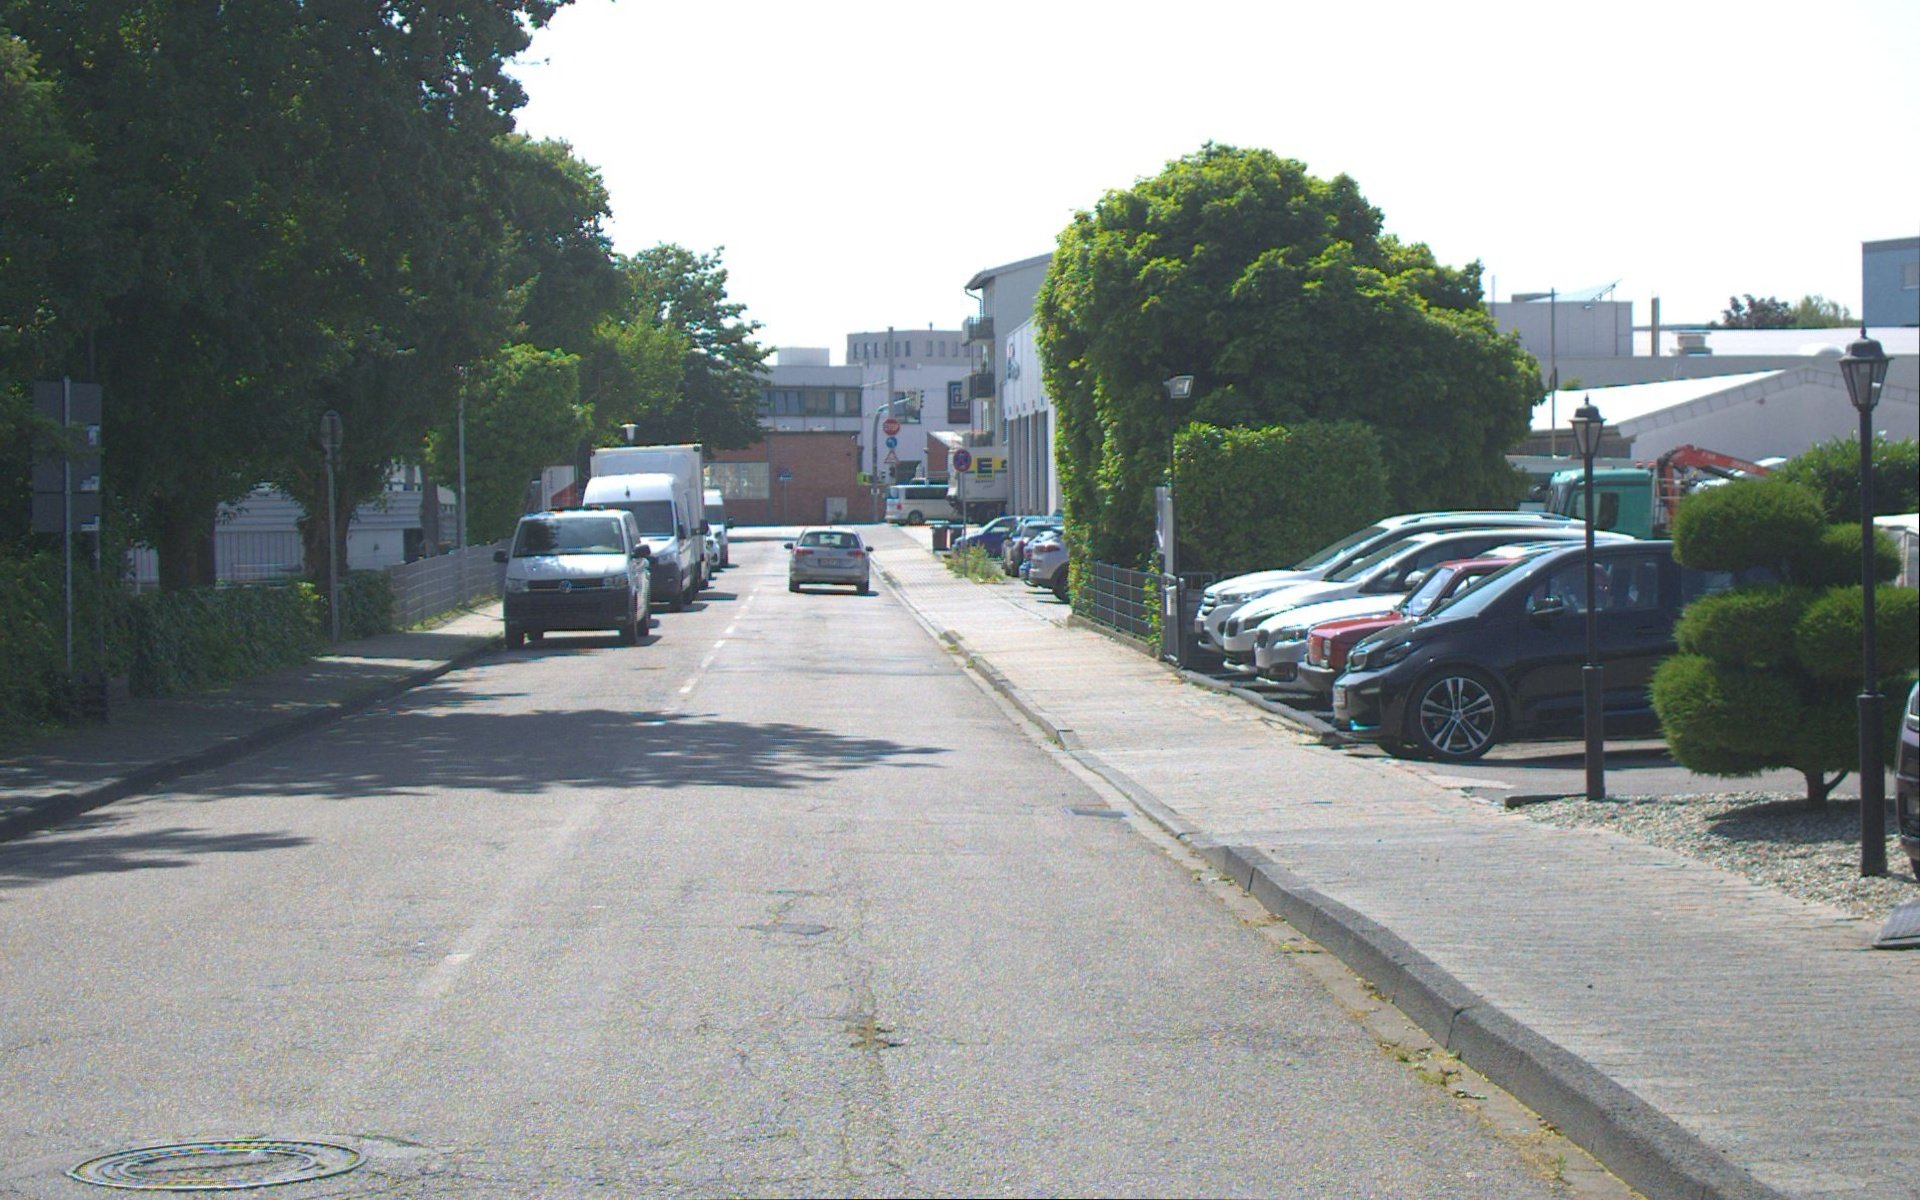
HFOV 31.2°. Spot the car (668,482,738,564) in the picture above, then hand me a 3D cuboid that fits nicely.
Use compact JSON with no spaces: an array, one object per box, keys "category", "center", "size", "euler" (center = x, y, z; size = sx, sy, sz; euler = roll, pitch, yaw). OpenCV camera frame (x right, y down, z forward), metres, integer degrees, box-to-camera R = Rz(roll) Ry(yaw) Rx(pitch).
[{"category":"car","center":[-7.921,-2.405,106.048],"size":[2.005,2.358,5.231],"euler":[-3,2,-4]}]

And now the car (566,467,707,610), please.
[{"category":"car","center":[-6.257,-1.208,67.193],"size":[2.168,2.587,6.921],"euler":[-2,1,-1]}]

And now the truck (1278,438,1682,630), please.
[{"category":"truck","center":[10.365,-1.334,68.980],"size":[7.517,3.411,2.527],"euler":[3,1,-2]}]

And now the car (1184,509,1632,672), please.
[{"category":"car","center":[4.690,-0.120,36.364],"size":[4.402,1.648,1.844],"euler":[0,1,-4]}]

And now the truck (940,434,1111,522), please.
[{"category":"truck","center":[3.020,-5.673,159.312],"size":[7.357,3.632,2.769],"euler":[-4,3,-8]}]

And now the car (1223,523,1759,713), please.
[{"category":"car","center":[4.777,0.139,31.252],"size":[4.402,1.492,1.897],"euler":[-2,1,-7]}]

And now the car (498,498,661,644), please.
[{"category":"car","center":[-5.599,-0.466,51.168],"size":[1.971,2.007,5.057],"euler":[-2,1,-2]}]

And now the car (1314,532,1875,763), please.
[{"category":"car","center":[4.692,0.322,25.749],"size":[3.802,1.618,1.760],"euler":[-1,1,-4]}]

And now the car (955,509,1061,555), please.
[{"category":"car","center":[1.503,-2.138,108.109],"size":[3.252,1.394,1.673],"euler":[-1,2,-2]}]

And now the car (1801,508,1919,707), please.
[{"category":"car","center":[9.217,0.025,31.201],"size":[1.993,1.722,4.001],"euler":[-1,1,-3]}]

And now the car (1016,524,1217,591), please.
[{"category":"car","center":[3.514,-0.976,77.612],"size":[4.352,1.436,1.892],"euler":[-1,2,-3]}]

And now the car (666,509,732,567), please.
[{"category":"car","center":[-7.679,-1.833,100.890],"size":[1.704,1.618,3.975],"euler":[-2,2,-7]}]

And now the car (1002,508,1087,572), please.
[{"category":"car","center":[2.200,-1.605,90.637],"size":[1.858,1.562,4.952],"euler":[-1,2,-3]}]

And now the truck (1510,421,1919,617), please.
[{"category":"truck","center":[14.757,-1.535,64.841],"size":[8.275,3.598,2.953],"euler":[0,1,1]}]

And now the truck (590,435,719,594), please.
[{"category":"truck","center":[-6.843,-1.902,77.063],"size":[2.685,3.354,7.131],"euler":[-1,1,-5]}]

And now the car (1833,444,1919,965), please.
[{"category":"car","center":[4.925,0.316,13.193],"size":[1.850,1.776,4.283],"euler":[0,1,31]}]

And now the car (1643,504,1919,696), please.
[{"category":"car","center":[8.494,-0.018,35.347],"size":[1.993,1.853,3.789],"euler":[1,1,-3]}]

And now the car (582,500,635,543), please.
[{"category":"car","center":[-13.093,-2.947,128.157],"size":[1.814,1.525,3.676],"euler":[-1,2,-4]}]

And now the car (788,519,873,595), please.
[{"category":"car","center":[-2.962,-0.993,78.270],"size":[1.890,1.679,3.958],"euler":[0,1,-3]}]

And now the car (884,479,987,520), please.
[{"category":"car","center":[-1.202,-4.902,167.520],"size":[4.653,1.951,1.917],"euler":[-1,2,-21]}]

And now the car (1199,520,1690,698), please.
[{"category":"car","center":[4.736,0.069,33.930],"size":[4.402,1.522,1.897],"euler":[-2,1,-7]}]

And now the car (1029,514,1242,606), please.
[{"category":"car","center":[3.628,-0.849,71.490],"size":[4.200,1.676,1.767],"euler":[3,1,-3]}]

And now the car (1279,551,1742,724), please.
[{"category":"car","center":[4.561,0.293,28.761],"size":[3.548,1.330,1.559],"euler":[-1,1,-4]}]
